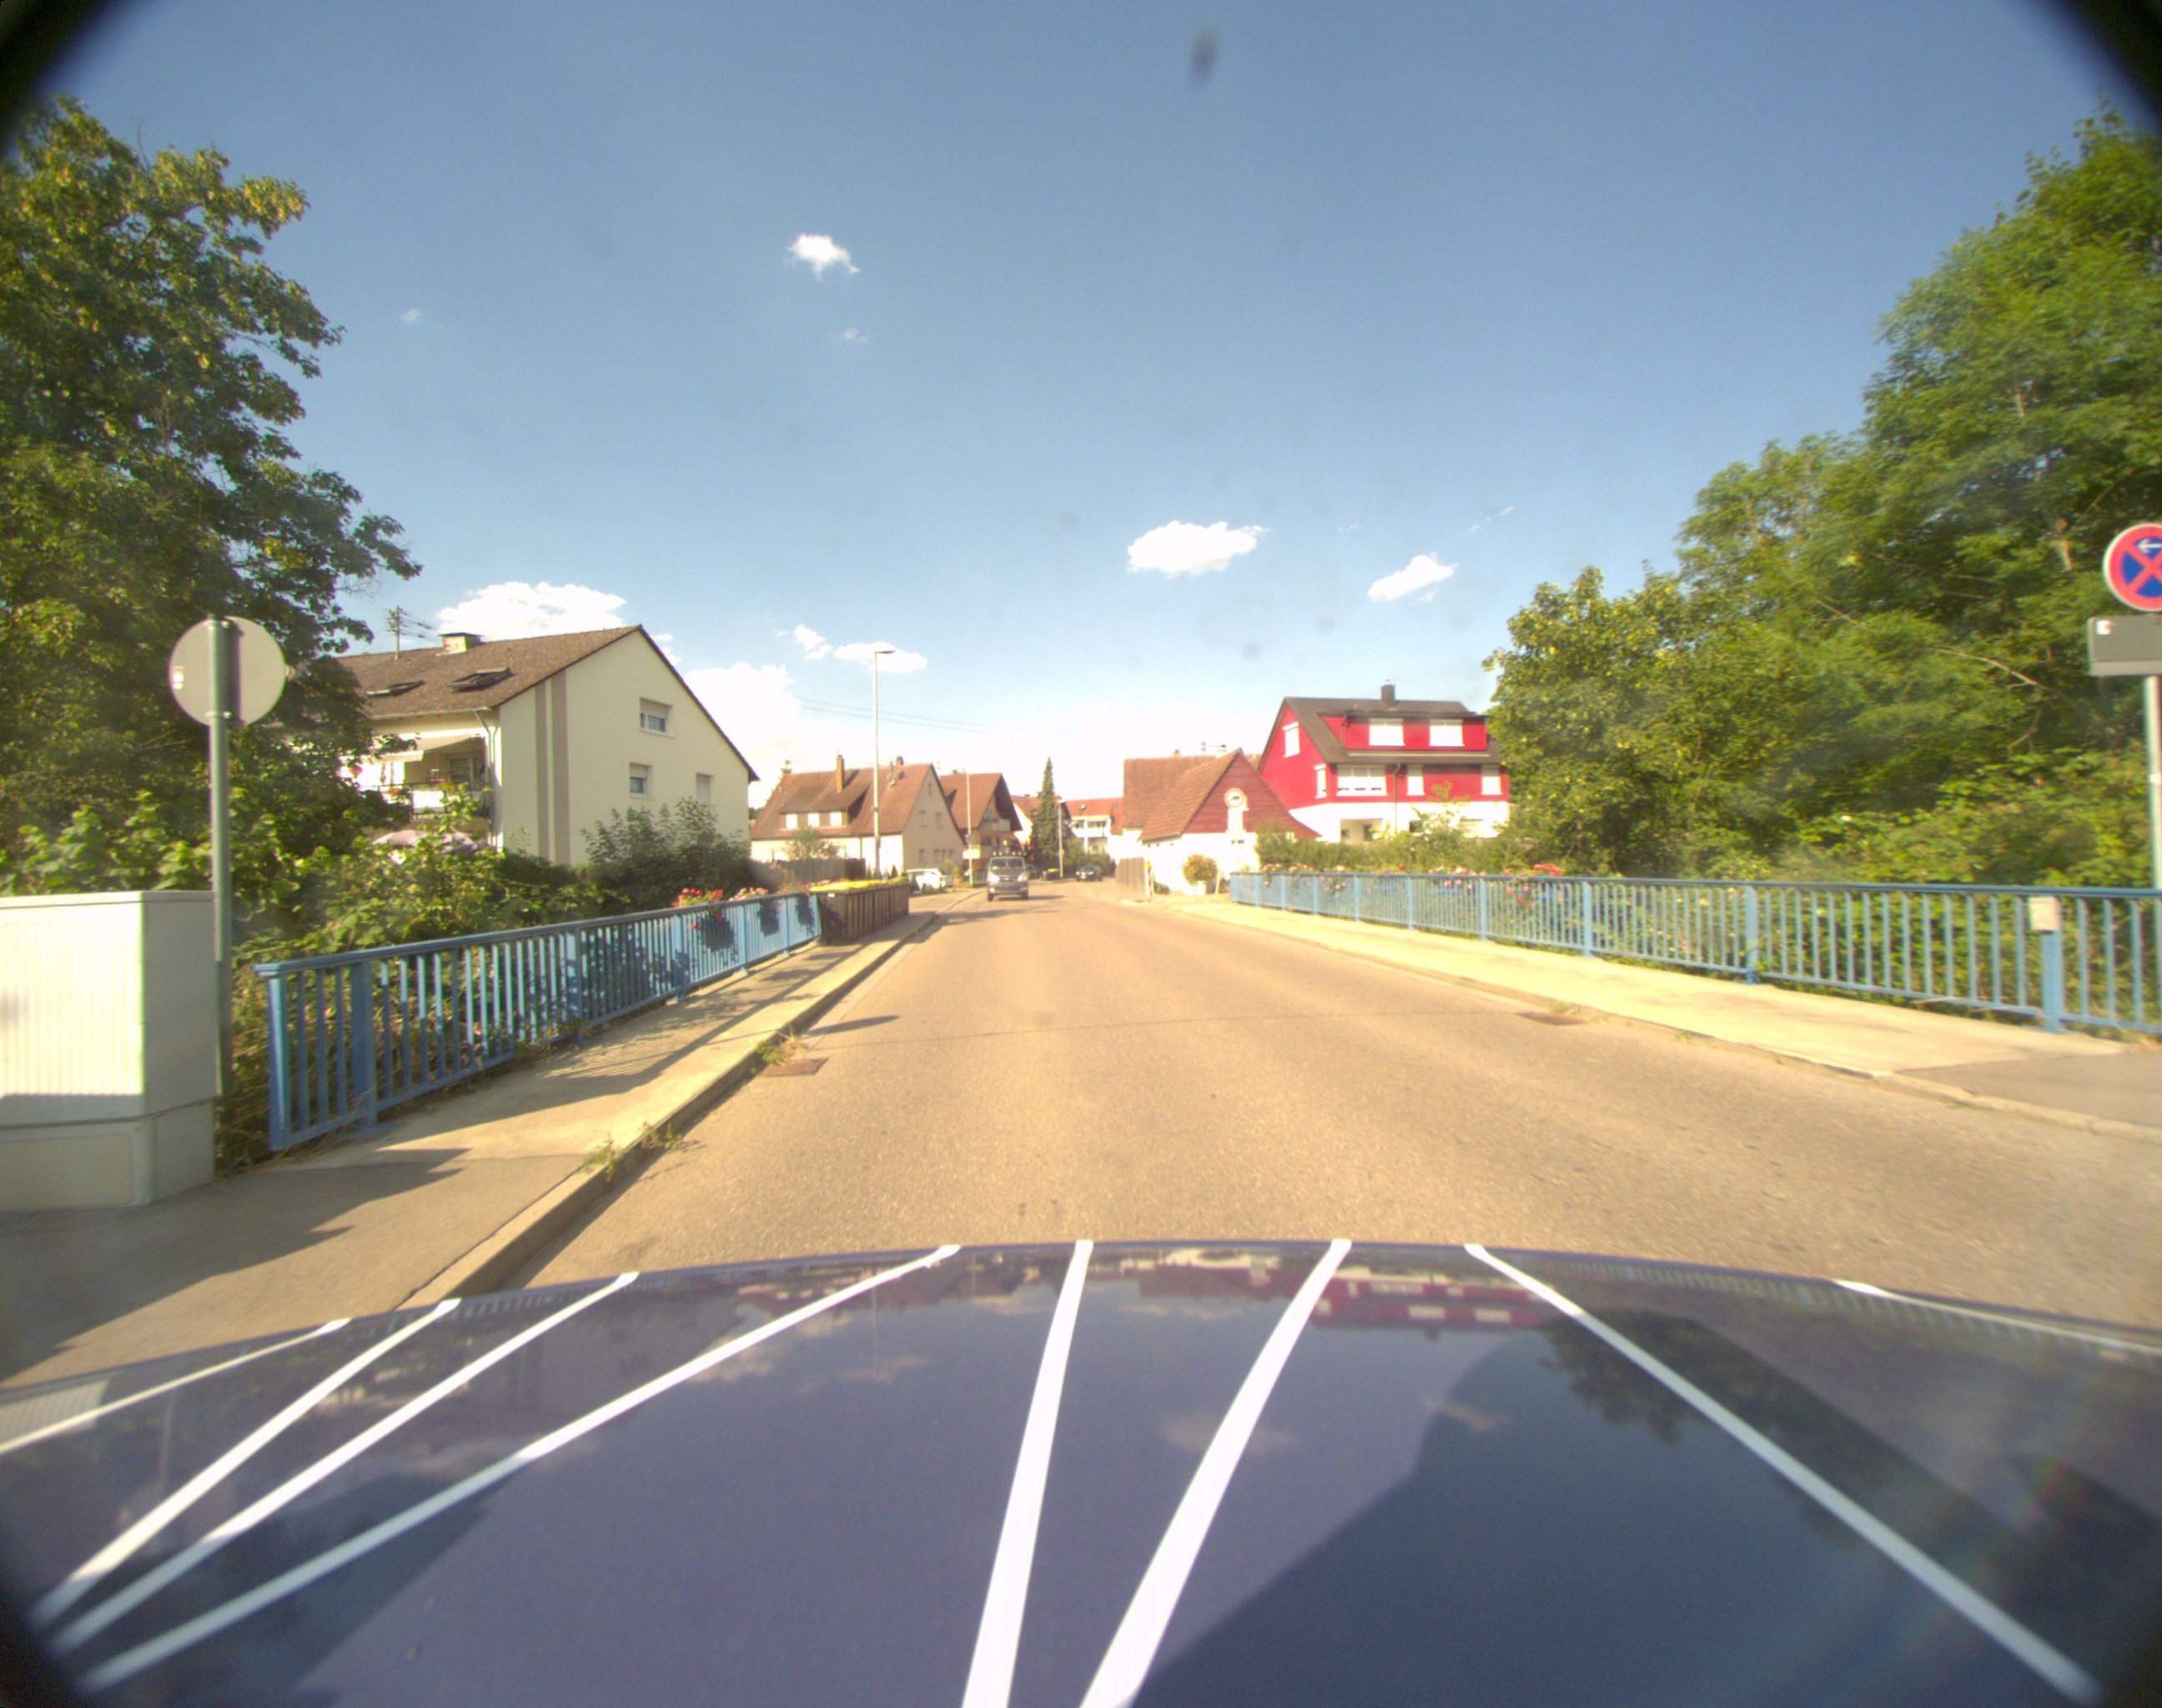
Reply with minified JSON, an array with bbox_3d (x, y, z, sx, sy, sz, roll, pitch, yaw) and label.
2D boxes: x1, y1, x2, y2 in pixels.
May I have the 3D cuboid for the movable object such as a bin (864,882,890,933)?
[{"bbox_3d":[-4.754,1.231,17.713,0.480,1.136,0.564,-1,0,-6],"label":"movable object such as a bin"}]

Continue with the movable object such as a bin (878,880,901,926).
[{"bbox_3d":[-4.942,1.260,19.636,0.480,1.136,0.538,-1,0,-6],"label":"movable object such as a bin"}]

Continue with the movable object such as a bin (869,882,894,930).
[{"bbox_3d":[-4.825,1.250,18.387,0.480,1.136,0.538,-1,0,-6],"label":"movable object such as a bin"}]

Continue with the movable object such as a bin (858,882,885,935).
[{"bbox_3d":[-4.697,1.219,17.071,0.480,1.136,0.538,-1,0,-6],"label":"movable object such as a bin"}]

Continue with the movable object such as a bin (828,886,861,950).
[{"bbox_3d":[-4.392,1.176,14.123,0.480,1.136,0.538,-1,0,-6],"label":"movable object such as a bin"}]

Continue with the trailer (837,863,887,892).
[{"bbox_3d":[-13.784,1.437,47.930,1.522,1.741,3.221,-2,-1,16],"label":"trailer"}]

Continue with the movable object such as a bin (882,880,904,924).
[{"bbox_3d":[-4.998,1.266,20.243,0.480,1.136,0.538,-1,0,-6],"label":"movable object such as a bin"}]

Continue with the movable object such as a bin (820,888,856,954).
[{"bbox_3d":[-4.329,1.185,13.562,0.480,1.136,0.538,-1,0,-6],"label":"movable object such as a bin"}]

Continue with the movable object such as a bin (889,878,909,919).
[{"bbox_3d":[-5.273,1.283,22.006,0.480,1.136,0.538,-1,0,-6],"label":"movable object such as a bin"}]

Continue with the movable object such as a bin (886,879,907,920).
[{"bbox_3d":[-5.201,1.278,21.437,0.480,1.136,0.542,-1,0,-6],"label":"movable object such as a bin"}]

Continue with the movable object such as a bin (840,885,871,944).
[{"bbox_3d":[-4.523,1.197,15.280,0.480,1.136,0.538,-1,0,-6],"label":"movable object such as a bin"}]

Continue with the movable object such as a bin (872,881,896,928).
[{"bbox_3d":[-4.907,1.249,18.970,0.480,1.136,0.538,-1,0,-6],"label":"movable object such as a bin"}]

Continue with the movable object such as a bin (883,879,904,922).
[{"bbox_3d":[-5.139,1.273,20.862,0.480,1.136,0.538,-1,0,-6],"label":"movable object such as a bin"}]

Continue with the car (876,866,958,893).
[{"bbox_3d":[-9.788,1.504,45.413,4.470,1.449,1.732,-2,0,13],"label":"car"}]

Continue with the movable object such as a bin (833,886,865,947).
[{"bbox_3d":[-4.472,1.199,14.685,0.480,1.136,0.538,-1,0,-6],"label":"movable object such as a bin"}]

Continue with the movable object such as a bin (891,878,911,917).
[{"bbox_3d":[-5.337,1.288,22.554,0.480,1.136,0.538,-1,0,-6],"label":"movable object such as a bin"}]

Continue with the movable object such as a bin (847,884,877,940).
[{"bbox_3d":[-4.567,1.202,15.861,0.480,1.136,0.538,-1,0,-6],"label":"movable object such as a bin"}]

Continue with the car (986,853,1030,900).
[{"bbox_3d":[-3.463,1.041,35.479,1.821,1.988,4.819,-2,-1,-8],"label":"car"}]

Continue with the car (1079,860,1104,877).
[{"bbox_3d":[1.097,1.481,76.625,1.971,1.646,4.003,0,0,9],"label":"car"}]

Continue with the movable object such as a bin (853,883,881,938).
[{"bbox_3d":[-4.630,1.217,16.490,0.480,1.136,0.538,-1,0,-6],"label":"movable object such as a bin"}]
